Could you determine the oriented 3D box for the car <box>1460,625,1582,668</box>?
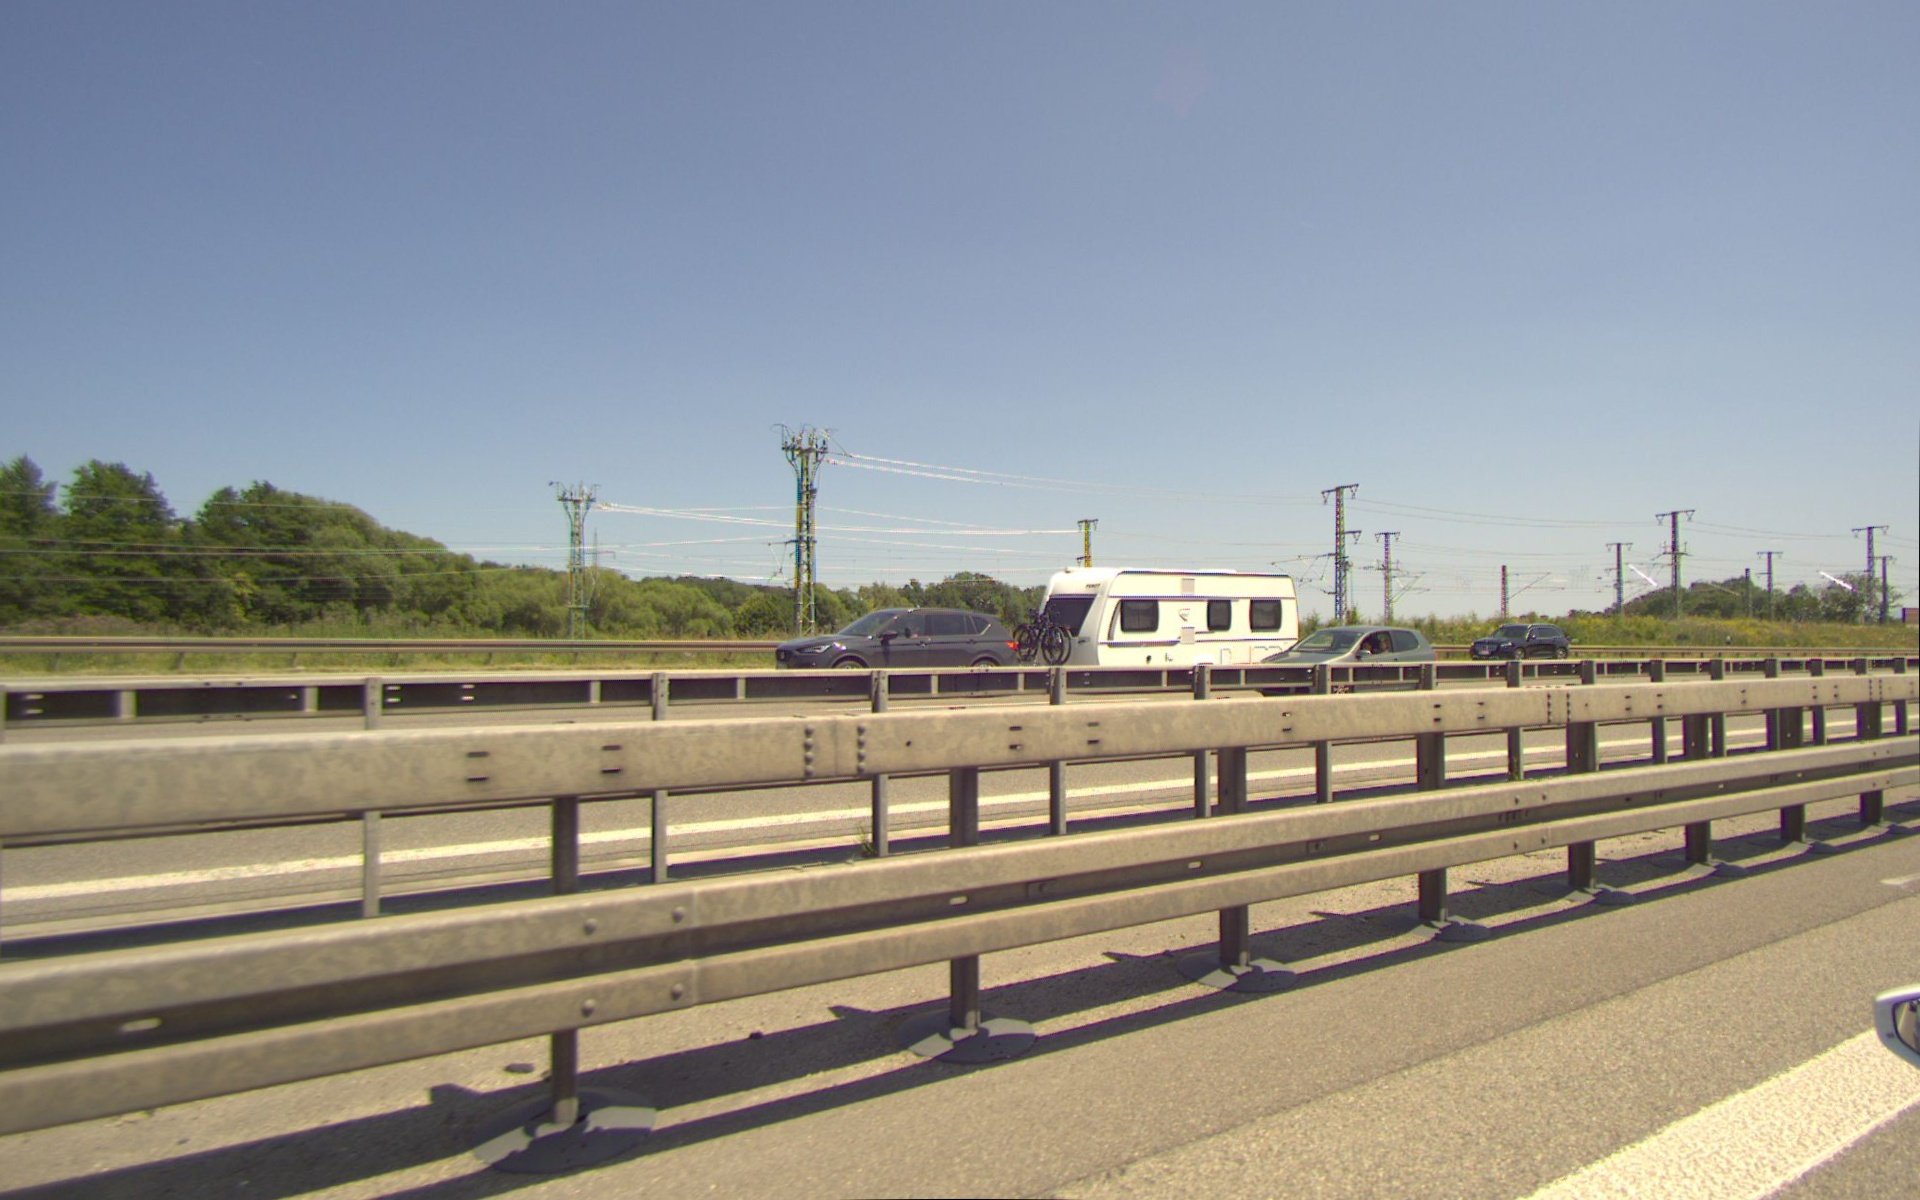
[{"bbox_3d":[22.362,1.837,40.003,4.873,1.618,1.985,1,-1,-29],"label":"car"}]

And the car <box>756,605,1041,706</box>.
[{"bbox_3d":[-1.094,0.975,18.780,4.934,1.680,2.056,1,-1,-30],"label":"car"}]

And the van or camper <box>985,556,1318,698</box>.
[{"bbox_3d":[4.357,0.593,22.010,7.516,2.692,2.326,1,-1,-30],"label":"van or camper"}]

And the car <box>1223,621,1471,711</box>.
[{"bbox_3d":[7.690,1.253,19.819,4.832,1.529,1.984,2,0,-30],"label":"car"}]
